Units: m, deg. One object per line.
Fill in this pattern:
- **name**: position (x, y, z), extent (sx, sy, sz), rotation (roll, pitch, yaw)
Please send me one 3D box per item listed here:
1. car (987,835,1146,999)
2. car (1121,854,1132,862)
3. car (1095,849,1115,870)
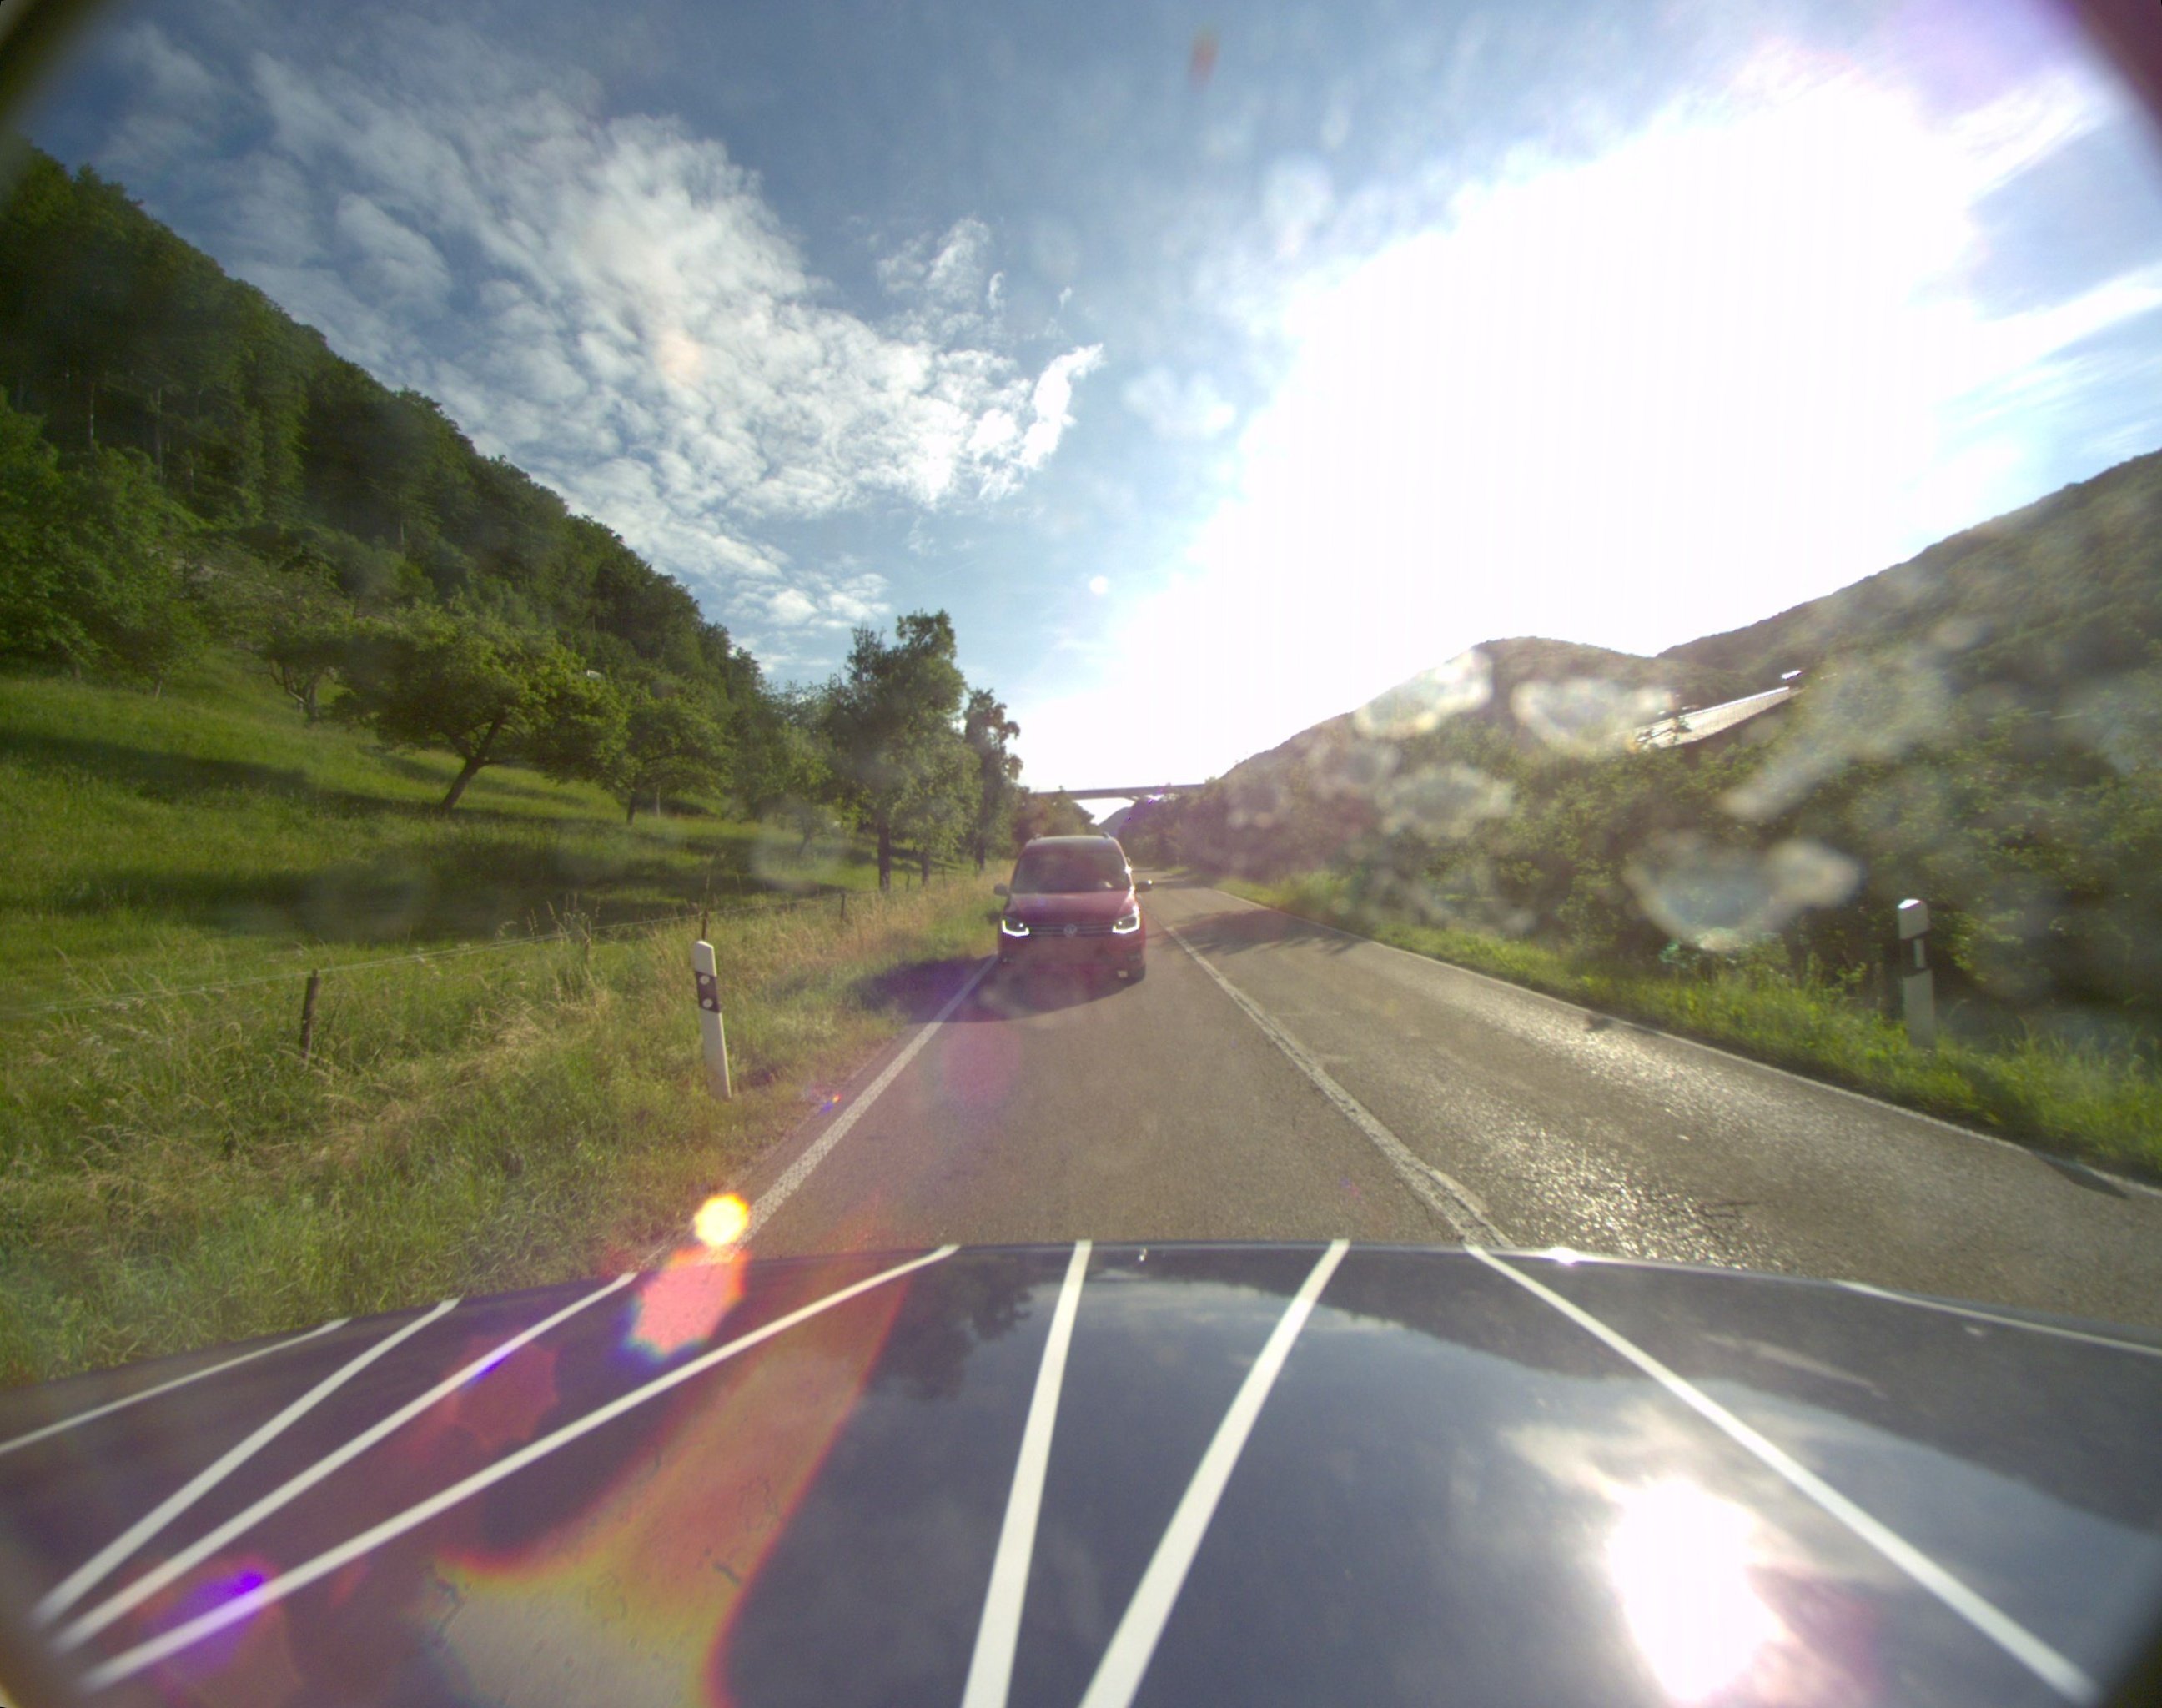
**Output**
- **car**: position (-0.158, 0.707, 10.504), extent (1.741, 1.803, 4.000), rotation (-1, 0, 0)
- **car**: position (7.814, 0.688, 130.865), extent (1.696, 1.401, 3.663), rotation (-1, 1, 2)
- **car**: position (2.456, 0.497, 78.456), extent (1.998, 2.002, 4.000), rotation (-2, 1, 1)
